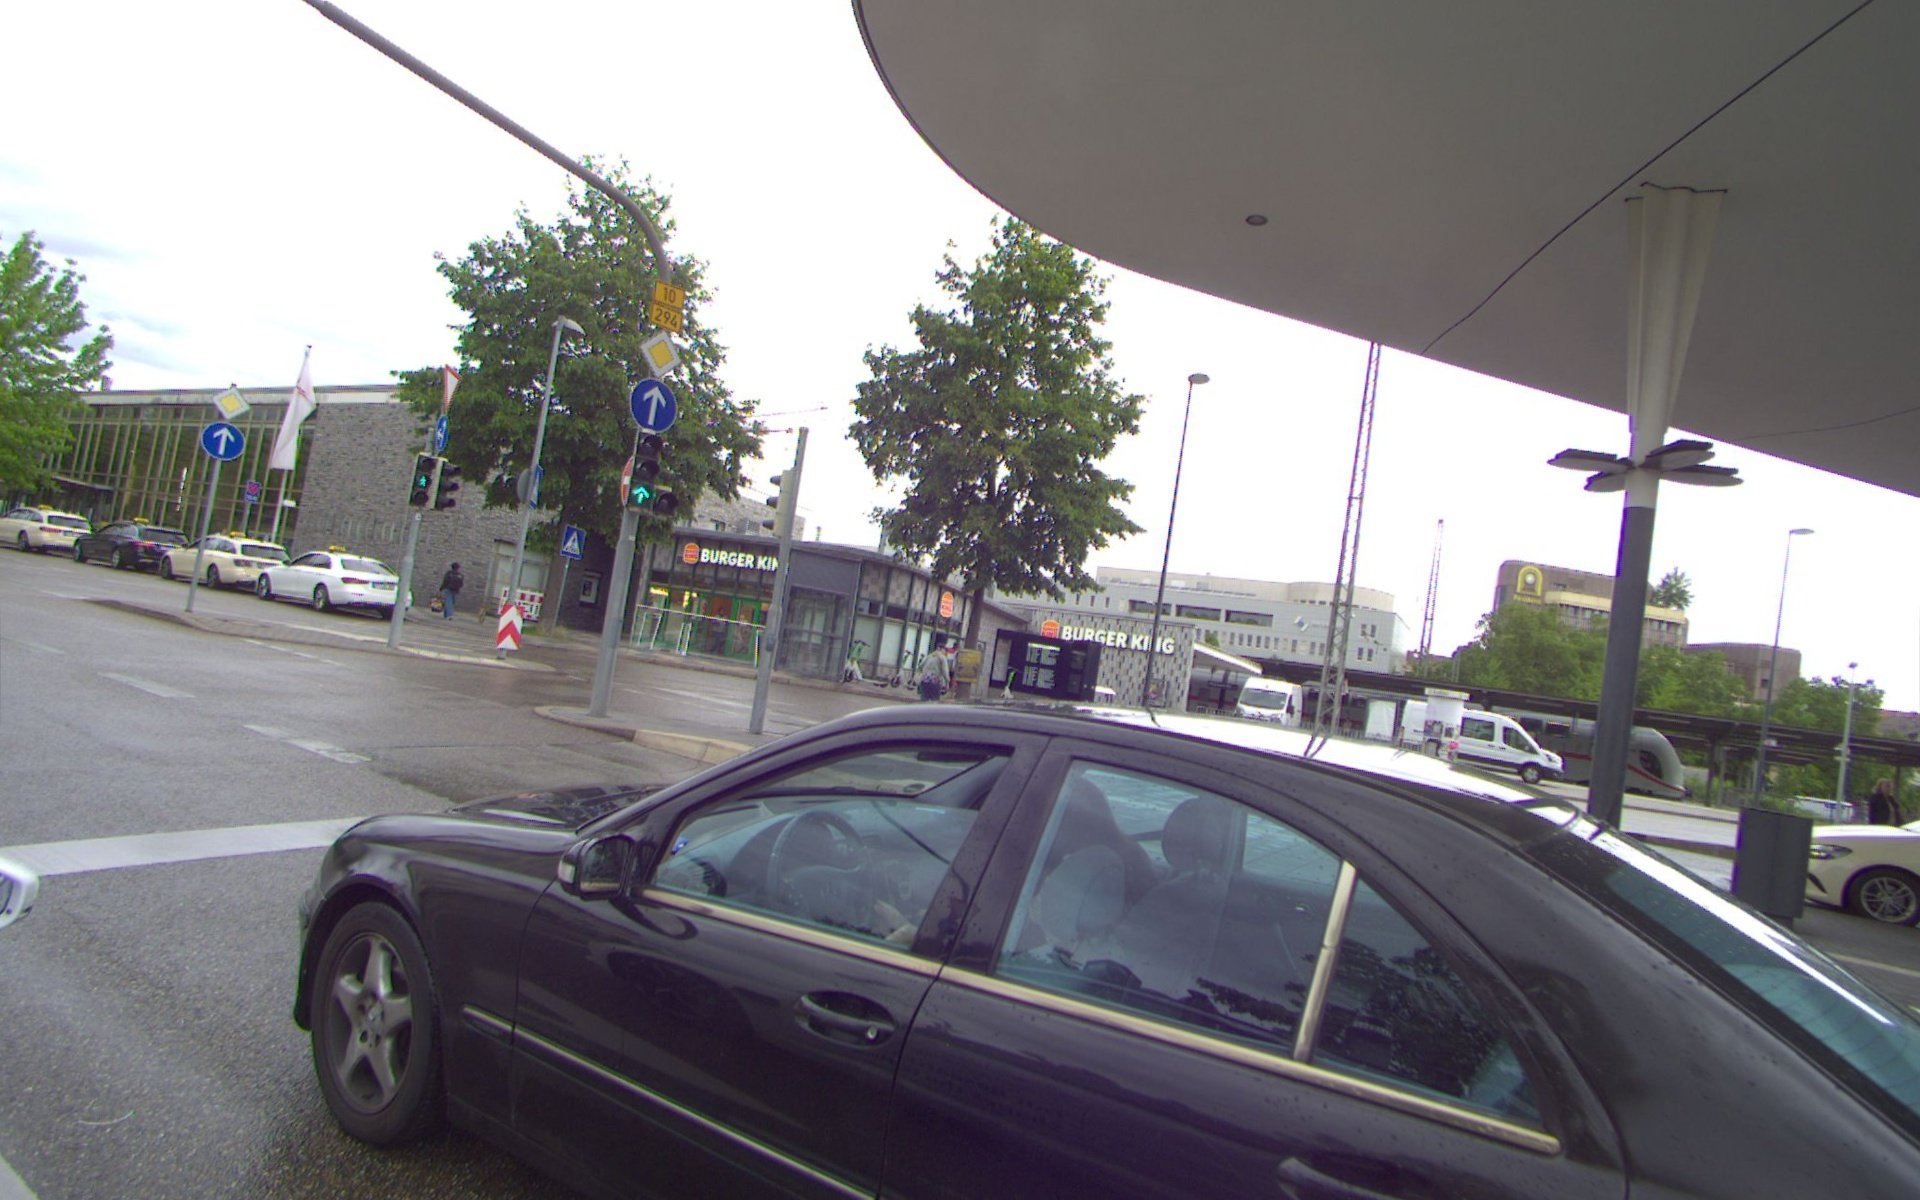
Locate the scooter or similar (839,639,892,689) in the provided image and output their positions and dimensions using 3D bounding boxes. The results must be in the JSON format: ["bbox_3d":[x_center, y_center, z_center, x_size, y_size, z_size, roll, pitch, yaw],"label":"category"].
[{"bbox_3d":[-2.599,1.752,27.698,1.280,1.196,0.333,7,-1,-2],"label":"scooter or similar"}]

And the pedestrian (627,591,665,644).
[{"bbox_3d":[-10.569,0.589,33.867,0.786,1.686,0.719,6,-1,42],"label":"pedestrian"}]

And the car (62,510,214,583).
[{"bbox_3d":[-26.000,-1.718,31.781,4.875,1.616,2.000,7,-3,31],"label":"car"}]

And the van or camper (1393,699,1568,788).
[{"bbox_3d":[20.377,5.552,39.484,5.767,2.461,1.997,6,-2,32],"label":"van or camper"}]

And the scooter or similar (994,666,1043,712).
[{"bbox_3d":[1.729,2.624,29.721,1.280,1.196,0.333,7,-1,-2],"label":"scooter or similar"}]

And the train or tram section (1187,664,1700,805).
[{"bbox_3d":[29.589,8.132,65.078,28.823,4.230,4.600,6,-2,32],"label":"train or tram section"}]

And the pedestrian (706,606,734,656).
[{"bbox_3d":[-8.634,1.100,36.139,0.713,1.686,0.794,7,-1,-20],"label":"pedestrian"}]

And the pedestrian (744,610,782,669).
[{"bbox_3d":[-6.184,1.233,31.553,0.762,1.689,0.645,10,4,9],"label":"pedestrian"}]

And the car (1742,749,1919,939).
[{"bbox_3d":[11.339,2.830,10.649,4.467,1.700,1.997,6,-2,32],"label":"car"}]

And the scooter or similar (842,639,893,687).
[{"bbox_3d":[-2.605,1.775,28.300,1.280,1.196,0.333,7,-1,-2],"label":"scooter or similar"}]

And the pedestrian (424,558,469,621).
[{"bbox_3d":[-14.357,-0.285,28.140,0.785,1.645,0.721,7,-1,-13],"label":"pedestrian"}]

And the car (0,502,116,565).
[{"bbox_3d":[-31.776,-2.375,34.724,4.868,1.618,2.000,7,-2,24],"label":"car"}]

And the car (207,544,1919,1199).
[{"bbox_3d":[0.266,0.865,2.410,4.378,1.482,1.698,6,-2,31],"label":"car"}]

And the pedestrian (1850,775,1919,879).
[{"bbox_3d":[15.945,3.884,17.342,0.638,1.613,0.732,8,-1,-44],"label":"pedestrian"}]

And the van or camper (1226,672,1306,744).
[{"bbox_3d":[12.655,4.410,41.314,2.127,2.461,5.865,7,-2,25],"label":"van or camper"}]

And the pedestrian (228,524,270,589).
[{"bbox_3d":[-25.660,-1.568,36.319,0.710,2.189,0.797,7,-1,28],"label":"pedestrian"}]

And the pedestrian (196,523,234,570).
[{"bbox_3d":[-27.583,-1.985,37.255,0.698,1.598,0.770,7,-1,28],"label":"pedestrian"}]

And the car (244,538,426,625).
[{"bbox_3d":[-15.975,-0.500,25.653,4.822,1.618,1.883,6,-2,32],"label":"car"}]

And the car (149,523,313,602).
[{"bbox_3d":[-20.798,-1.090,28.656,4.876,1.618,1.997,7,-2,32],"label":"car"}]

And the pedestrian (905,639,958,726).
[{"bbox_3d":[-0.543,1.581,19.469,0.824,1.547,0.638,7,-1,2],"label":"pedestrian"}]
